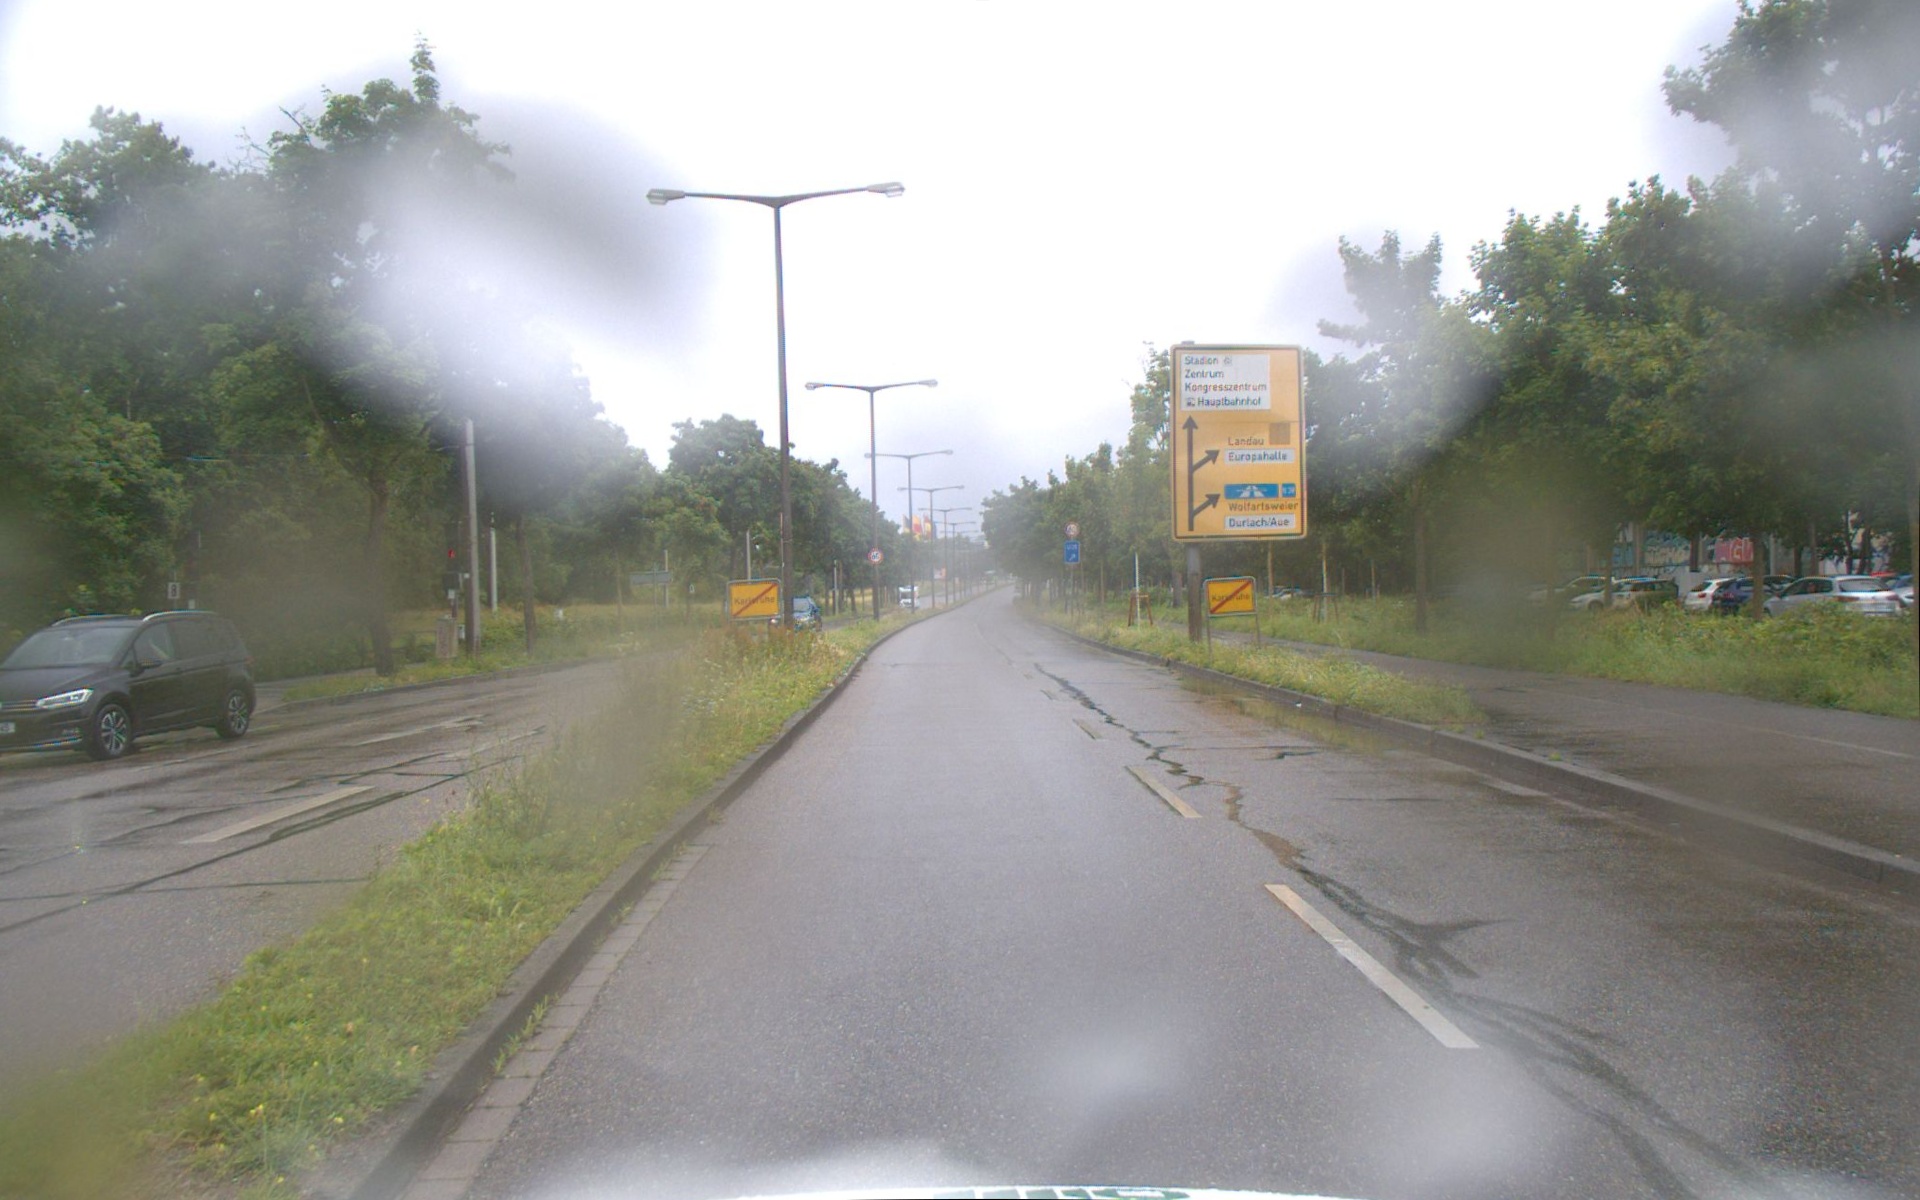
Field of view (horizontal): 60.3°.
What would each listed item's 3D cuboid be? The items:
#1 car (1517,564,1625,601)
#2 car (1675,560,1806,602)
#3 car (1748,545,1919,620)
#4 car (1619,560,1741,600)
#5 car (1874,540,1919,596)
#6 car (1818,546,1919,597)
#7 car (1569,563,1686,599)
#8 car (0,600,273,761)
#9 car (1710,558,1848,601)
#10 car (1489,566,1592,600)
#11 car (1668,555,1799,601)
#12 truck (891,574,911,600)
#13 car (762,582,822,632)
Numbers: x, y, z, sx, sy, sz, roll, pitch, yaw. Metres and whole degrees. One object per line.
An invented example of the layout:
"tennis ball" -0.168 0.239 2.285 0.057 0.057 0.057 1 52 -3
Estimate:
"car" 29.393 -0.848 79.613 4.478 1.735 1.999 0 0 -3
"car" 29.161 -0.701 61.878 4.105 1.510 1.760 0 0 -3
"car" 21.368 -0.406 40.501 1.952 1.654 4.642 -2 0 1
"car" 29.699 -0.808 68.289 4.247 1.585 1.944 0 0 -3
"car" 28.338 -0.875 46.514 4.247 1.530 1.923 0 0 -3
"car" 29.270 -0.870 51.390 4.247 1.510 1.944 0 0 -3
"car" 29.778 -0.850 73.892 4.473 1.585 1.946 0 0 4
"car" -10.349 0.911 20.369 1.671 1.670 4.333 -3 0 3
"car" 29.069 -0.729 58.802 4.046 1.485 1.790 0 0 0
"car" 28.899 -0.848 82.416 4.480 1.673 1.998 0 0 -5
"car" 30.318 -0.854 64.909 4.247 1.755 1.944 0 0 -3
"truck" -7.014 -1.577 196.359 2.094 2.893 5.073 -3 0 -1
"car" -6.243 0.233 61.964 1.708 1.679 4.136 -4 1 0
